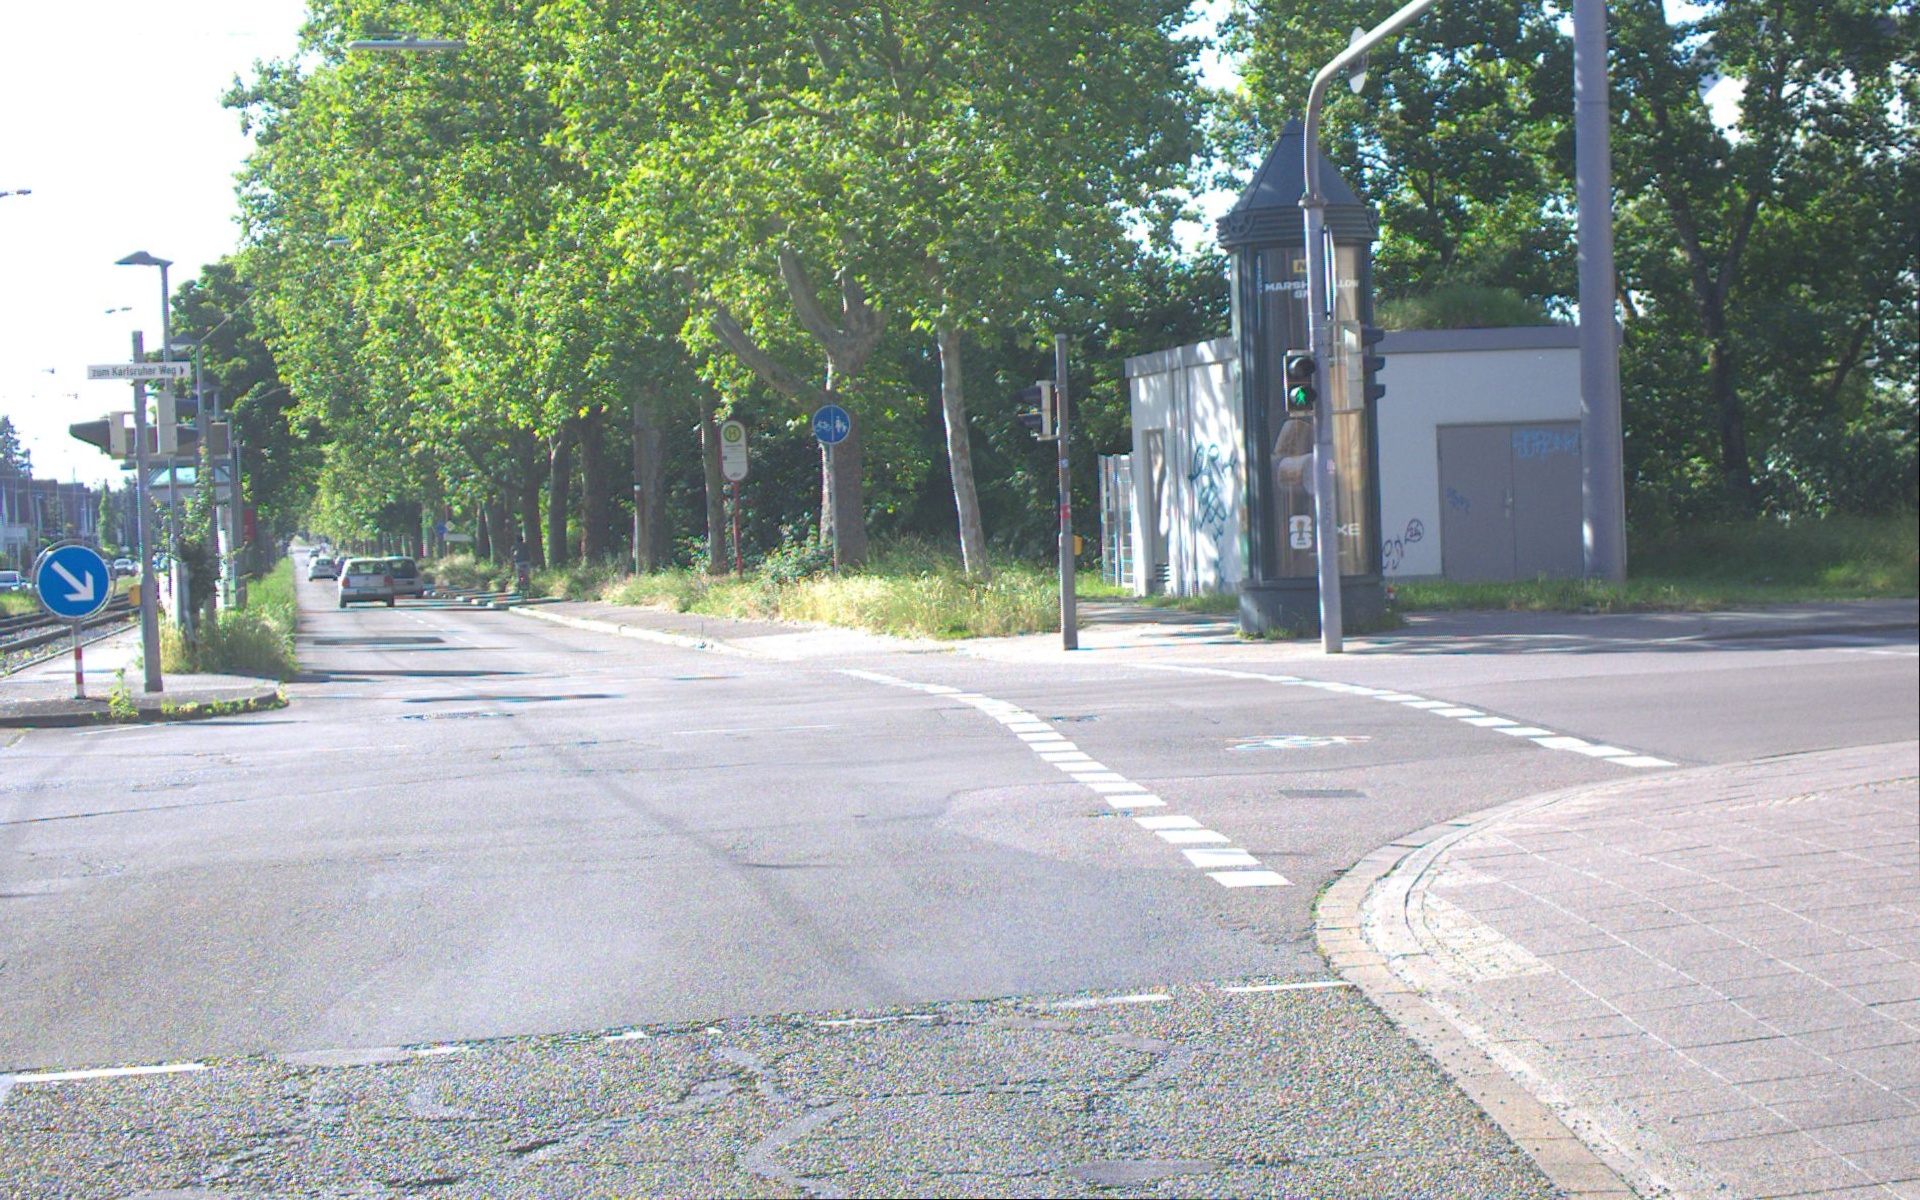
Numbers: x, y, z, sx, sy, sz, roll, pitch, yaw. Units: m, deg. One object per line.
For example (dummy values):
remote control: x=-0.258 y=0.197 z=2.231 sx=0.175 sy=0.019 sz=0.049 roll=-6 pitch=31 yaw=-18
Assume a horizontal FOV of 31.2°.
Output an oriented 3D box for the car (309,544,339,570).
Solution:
car: x=-40.567 y=-2.759 z=219.191 sx=1.750 sy=1.599 sz=3.582 roll=-3 pitch=1 yaw=-12

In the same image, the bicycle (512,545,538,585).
bicycle: x=-11.922 y=-0.966 z=94.231 sx=0.536 sy=1.062 sz=1.434 roll=-3 pitch=1 yaw=-13

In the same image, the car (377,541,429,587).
car: x=-20.449 y=-1.327 z=126.097 sx=1.750 sy=1.599 sz=3.751 roll=-2 pitch=1 yaw=-11

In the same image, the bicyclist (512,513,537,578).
bicyclist: x=-11.924 y=-1.485 z=94.210 sx=0.534 sy=1.763 sz=0.713 roll=-3 pitch=1 yaw=-13

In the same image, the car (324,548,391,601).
car: x=-17.801 y=-0.760 z=101.463 sx=1.867 sy=1.481 sz=3.556 roll=-2 pitch=1 yaw=-11

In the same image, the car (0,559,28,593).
car: x=-42.666 y=-1.045 z=153.049 sx=1.993 sy=1.464 sz=4.377 roll=-2 pitch=1 yaw=-12
